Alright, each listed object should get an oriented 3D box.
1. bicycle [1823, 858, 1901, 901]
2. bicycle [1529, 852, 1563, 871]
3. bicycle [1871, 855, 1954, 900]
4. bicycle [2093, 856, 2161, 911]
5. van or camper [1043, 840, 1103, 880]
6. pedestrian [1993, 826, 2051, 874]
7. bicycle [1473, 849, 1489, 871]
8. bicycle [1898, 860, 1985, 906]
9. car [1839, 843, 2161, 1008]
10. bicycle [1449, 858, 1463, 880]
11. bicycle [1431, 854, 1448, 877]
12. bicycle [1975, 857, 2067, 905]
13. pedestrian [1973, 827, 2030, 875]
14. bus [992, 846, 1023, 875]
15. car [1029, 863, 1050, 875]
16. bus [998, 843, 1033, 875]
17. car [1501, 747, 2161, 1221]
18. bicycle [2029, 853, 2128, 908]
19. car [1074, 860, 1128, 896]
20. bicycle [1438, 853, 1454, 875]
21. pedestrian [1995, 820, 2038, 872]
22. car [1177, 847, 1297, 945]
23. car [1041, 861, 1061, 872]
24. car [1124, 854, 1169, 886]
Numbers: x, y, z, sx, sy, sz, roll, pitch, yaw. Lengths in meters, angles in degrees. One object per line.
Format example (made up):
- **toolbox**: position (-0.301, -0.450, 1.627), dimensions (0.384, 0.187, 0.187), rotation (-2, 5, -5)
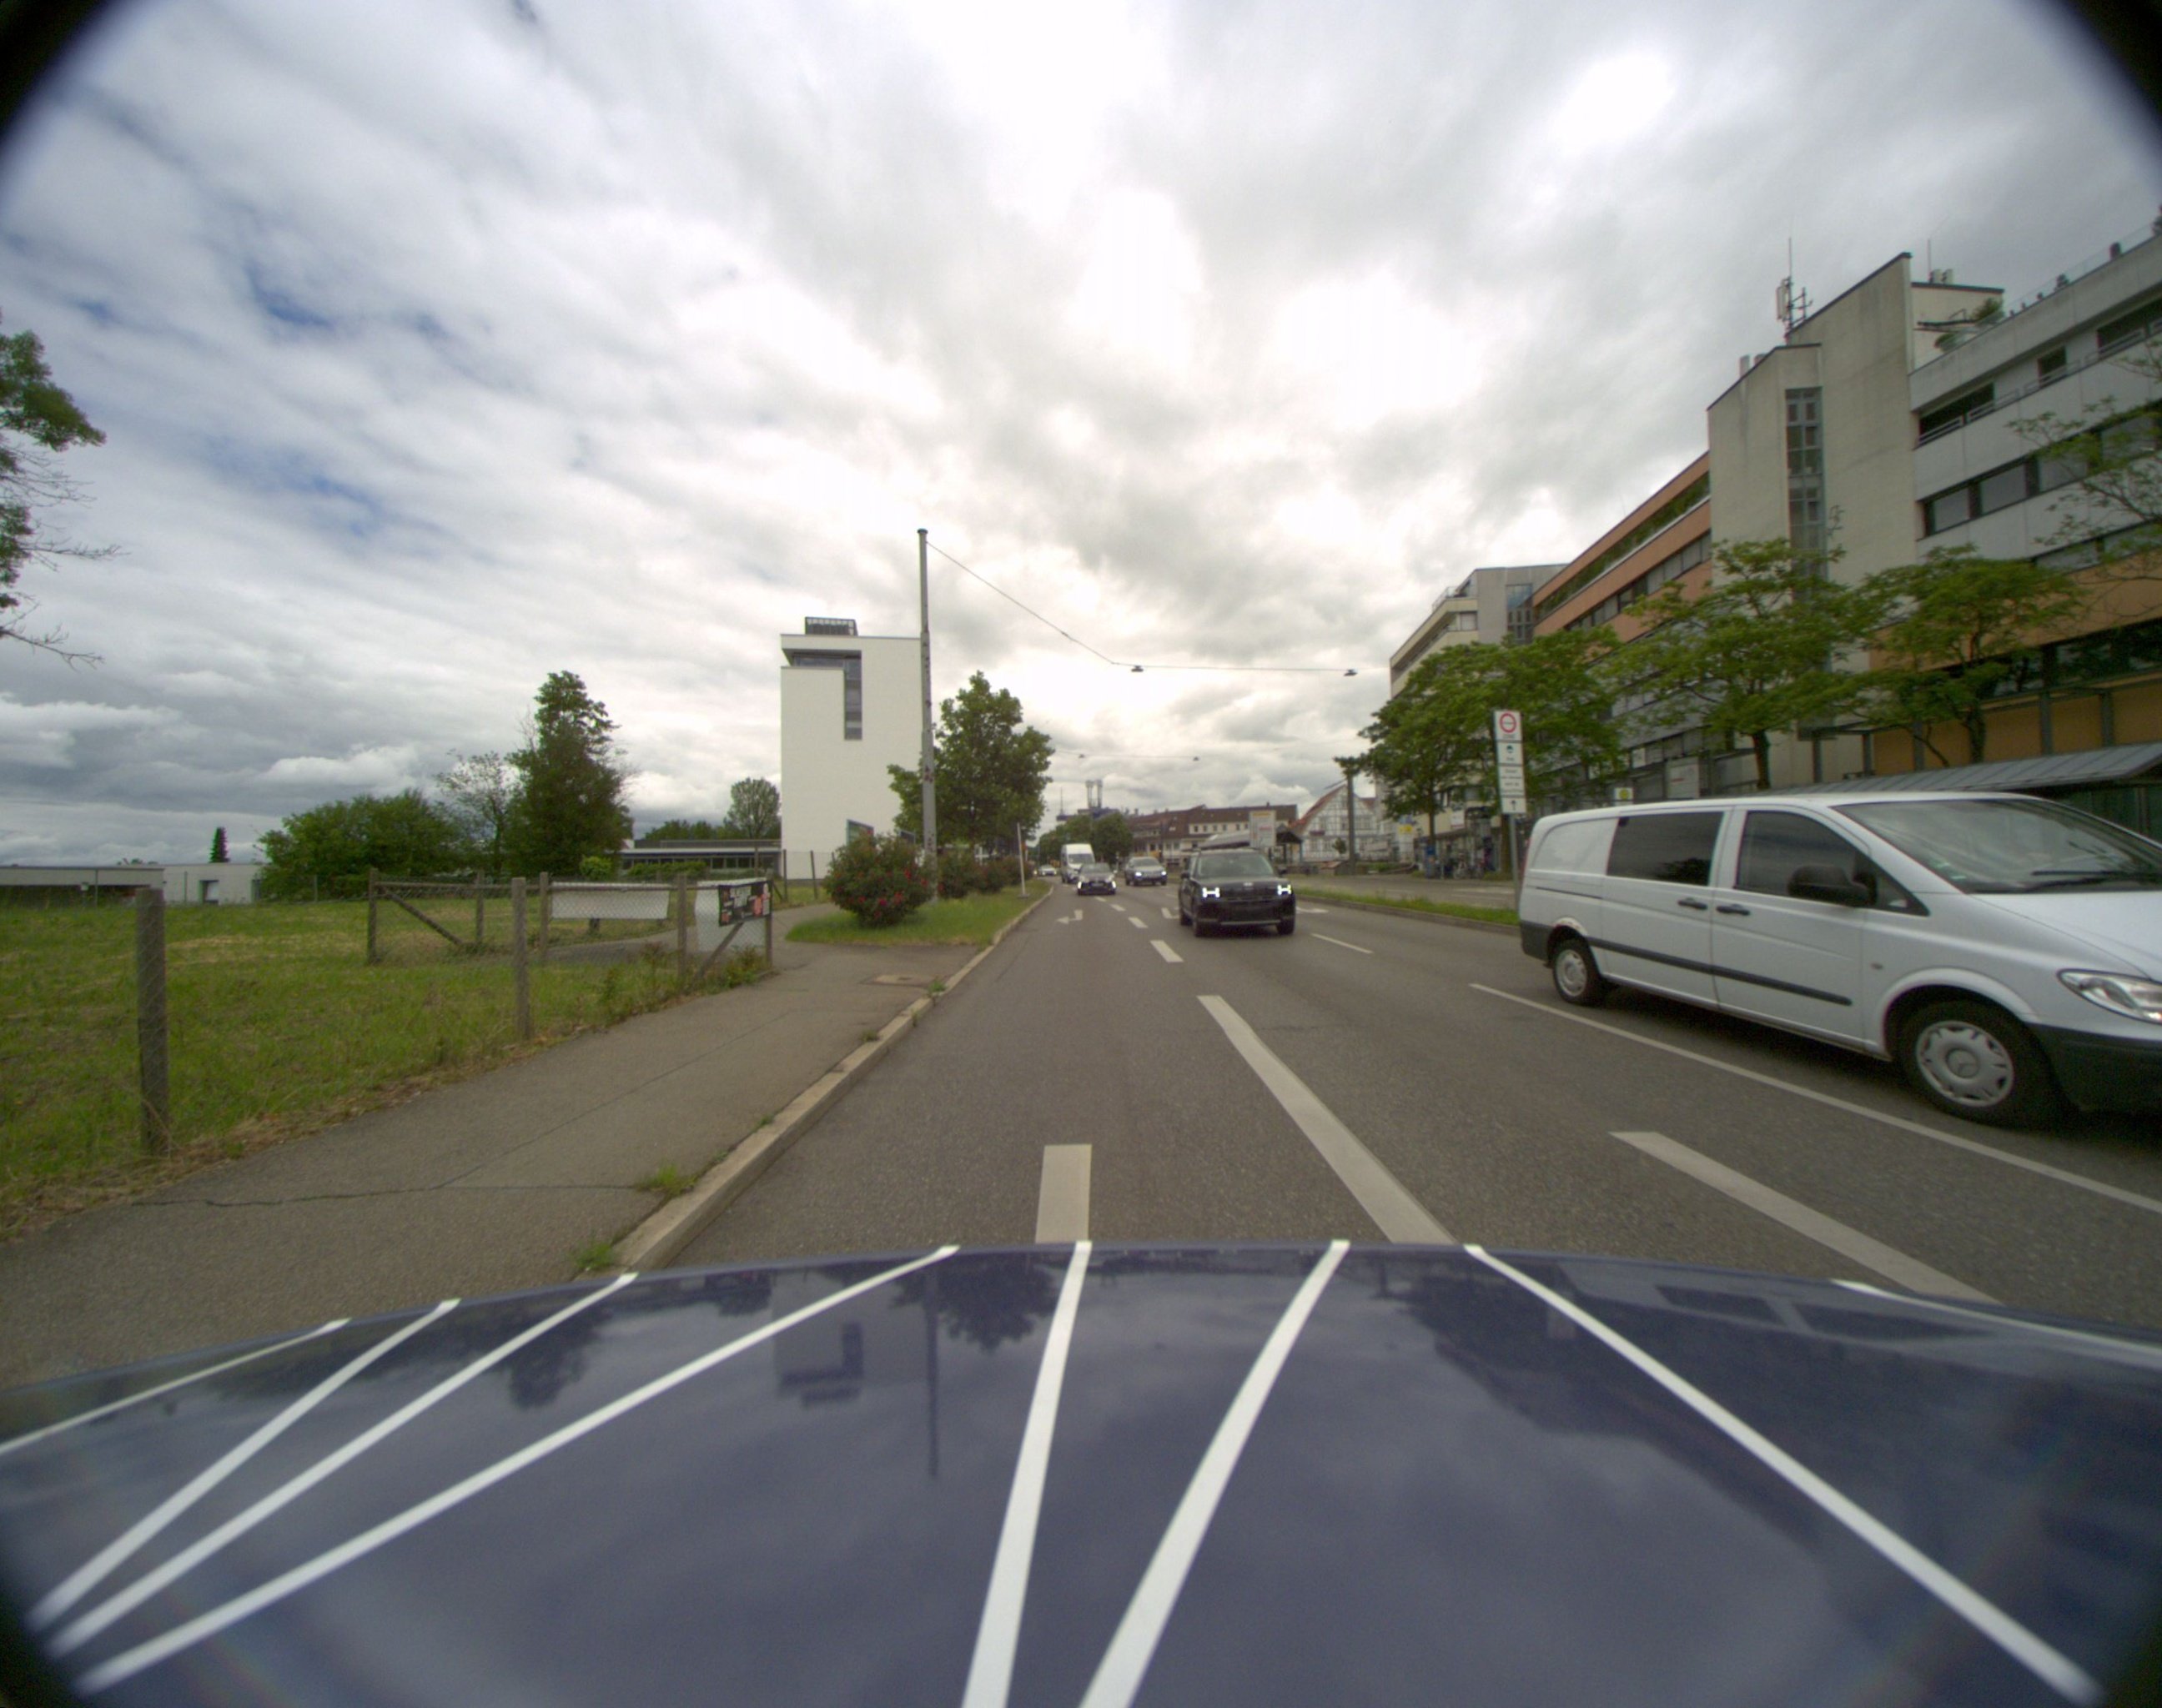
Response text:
- **bicycle**: position (23.602, 0.750, 22.968), dimensions (2.072, 1.147, 0.711), rotation (-4, 1, -15)
- **bicycle**: position (32.850, 0.561, 53.709), dimensions (1.970, 1.311, 0.706), rotation (-1, 0, 16)
- **bicycle**: position (23.911, 0.668, 21.852), dimensions (2.072, 1.147, 0.711), rotation (-3, 1, -15)
- **bicycle**: position (24.429, 0.656, 17.449), dimensions (2.073, 1.147, 0.711), rotation (-2, 0, -15)
- **van or camper**: position (-0.700, 0.474, 54.120), dimensions (2.283, 2.690, 6.986), rotation (0, -1, -18)
- **pedestrian**: position (31.995, -0.125, 25.846), dimensions (0.735, 1.608, 0.997), rotation (-1, 0, -4)
- **bicycle**: position (22.215, 0.325, 42.157), dimensions (0.625, 1.246, 1.687), rotation (-1, 0, 33)
- **bicycle**: position (23.563, 0.778, 20.809), dimensions (2.073, 1.147, 0.711), rotation (-2, 1, -15)
- **car**: position (11.203, 0.672, 7.882), dimensions (1.999, 1.565, 4.514), rotation (-1, 0, -5)
- **bicycle**: position (21.416, 0.833, 43.392), dimensions (0.431, 1.246, 1.474), rotation (-1, 0, 36)
- **bicycle**: position (19.943, 0.652, 42.199), dimensions (0.625, 1.246, 1.687), rotation (-1, 0, 33)
- **bicycle**: position (24.090, 0.674, 19.467), dimensions (2.073, 1.146, 0.711), rotation (-1, 0, -15)
- **pedestrian**: position (31.164, -0.095, 25.737), dimensions (0.735, 1.608, 0.997), rotation (-1, 0, -4)
- **bus**: position (-8.846, 0.809, 90.629), dimensions (2.722, 3.089, 8.863), rotation (4, -2, -10)
- **car**: position (-5.240, 1.850, 95.583), dimensions (2.000, 1.368, 3.996), rotation (-1, 0, -11)
- **bus**: position (-7.173, 0.626, 81.794), dimensions (2.722, 3.144, 9.120), rotation (3, -2, -11)
- **car**: position (5.496, 0.548, 5.679), dimensions (1.878, 2.002, 5.076), rotation (-1, 0, 0)
- **bicycle**: position (24.218, 0.625, 18.453), dimensions (2.072, 1.147, 0.711), rotation (-4, 1, -15)
- **car**: position (0.969, 1.079, 34.239), dimensions (1.862, 1.516, 4.004), rotation (-1, -1, 10)
- **bicycle**: position (21.225, 0.594, 44.162), dimensions (0.625, 1.246, 1.687), rotation (-1, 0, 34)
- **pedestrian**: position (29.739, -0.242, 24.157), dimensions (0.533, 1.634, 0.675), rotation (-1, 0, 1)
- **car**: position (3.133, 0.770, 16.176), dimensions (1.926, 1.741, 4.680), rotation (-2, 0, 5)
- **car**: position (-3.887, 1.663, 99.232), dimensions (2.000, 1.368, 3.996), rotation (-1, 0, -11)
- **car**: position (3.700, 0.881, 43.733), dimensions (1.999, 1.640, 4.393), rotation (-3, 0, -3)
